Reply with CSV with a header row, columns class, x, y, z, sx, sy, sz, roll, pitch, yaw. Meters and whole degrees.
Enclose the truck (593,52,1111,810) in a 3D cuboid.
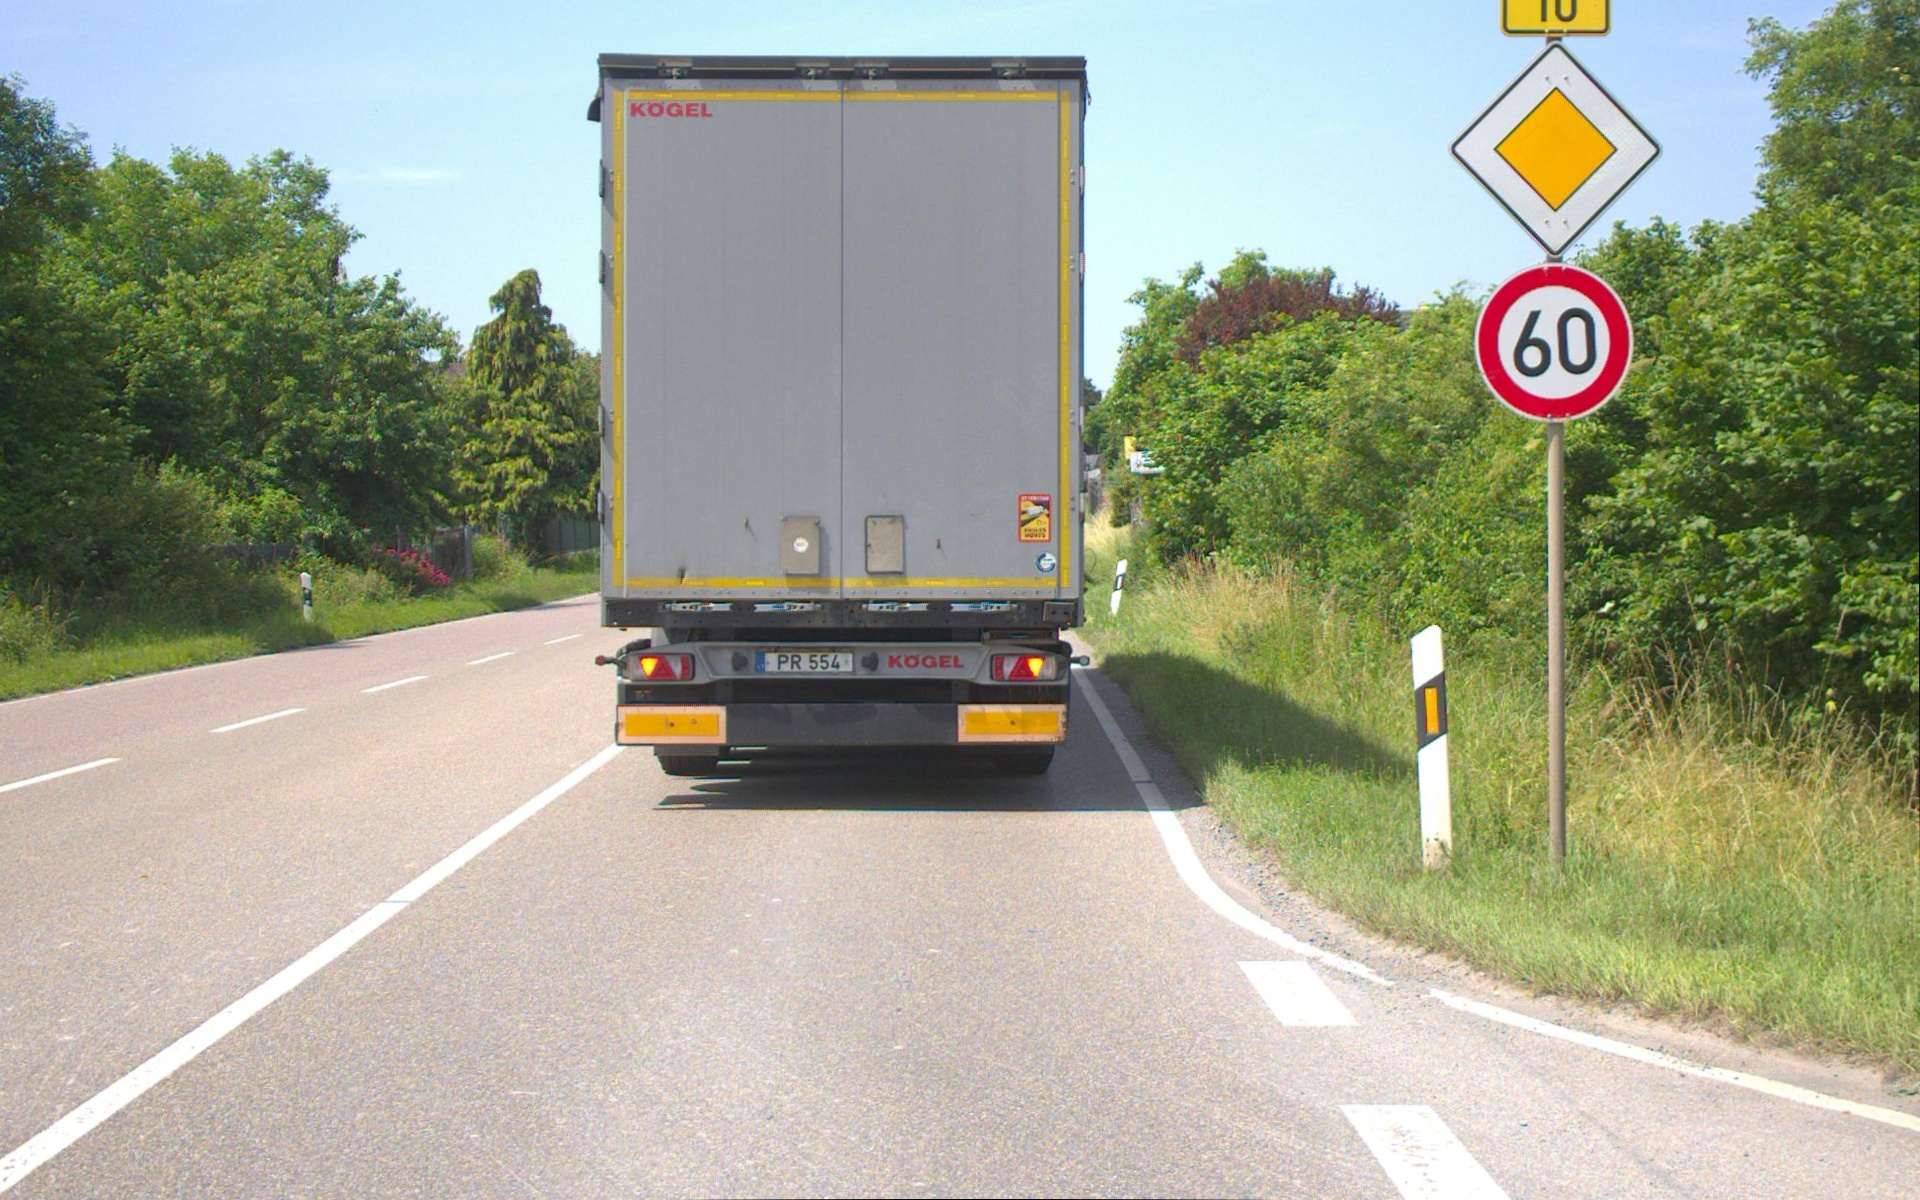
class,x,y,z,sx,sy,sz,roll,pitch,yaw
truck,-0.638,-0.970,22.275,2.647,3.903,8.826,1,1,-1
